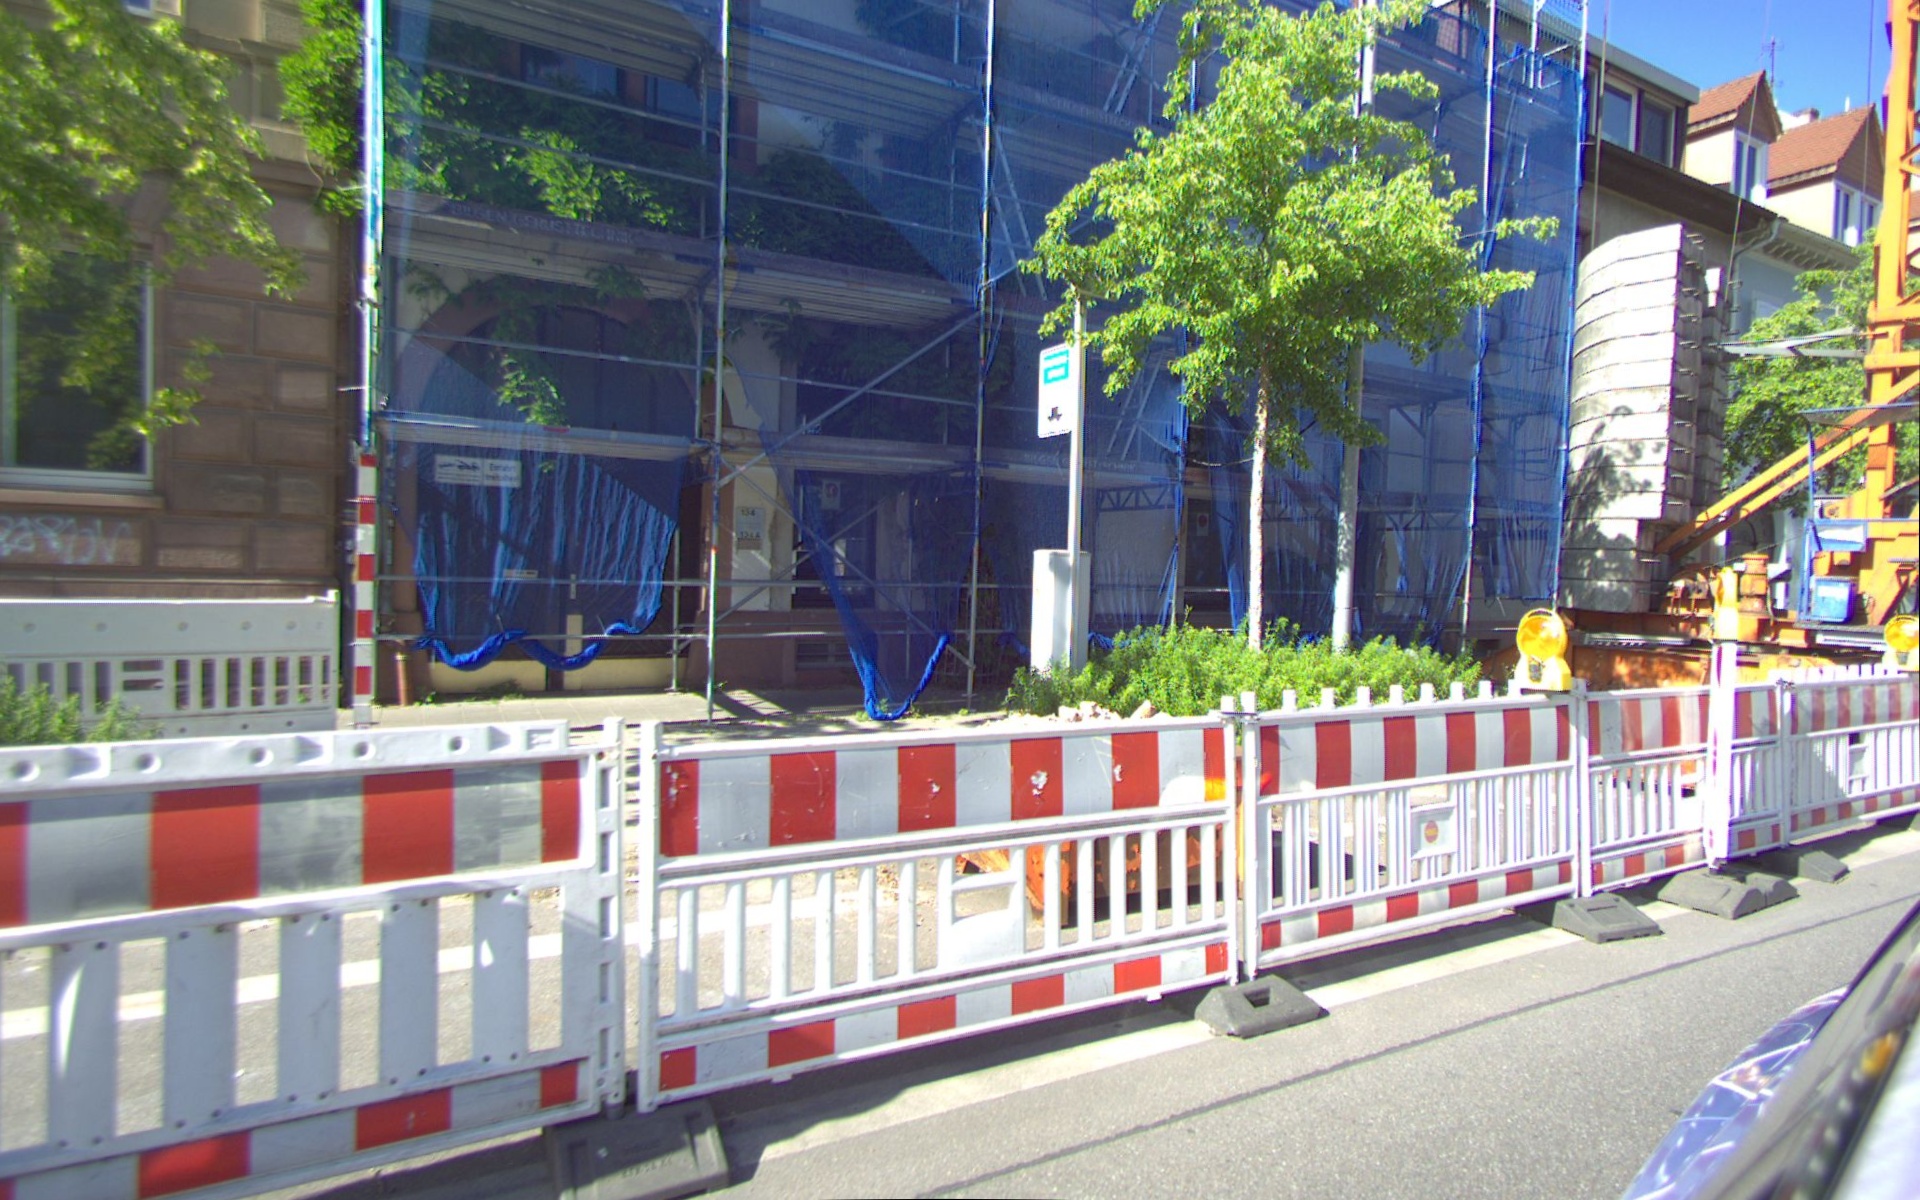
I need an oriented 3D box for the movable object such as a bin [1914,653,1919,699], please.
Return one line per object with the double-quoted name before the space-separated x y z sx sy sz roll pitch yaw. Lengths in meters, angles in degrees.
"movable object such as a bin" 14.074 0.897 14.276 0.715 1.070 0.599 1 5 -28
